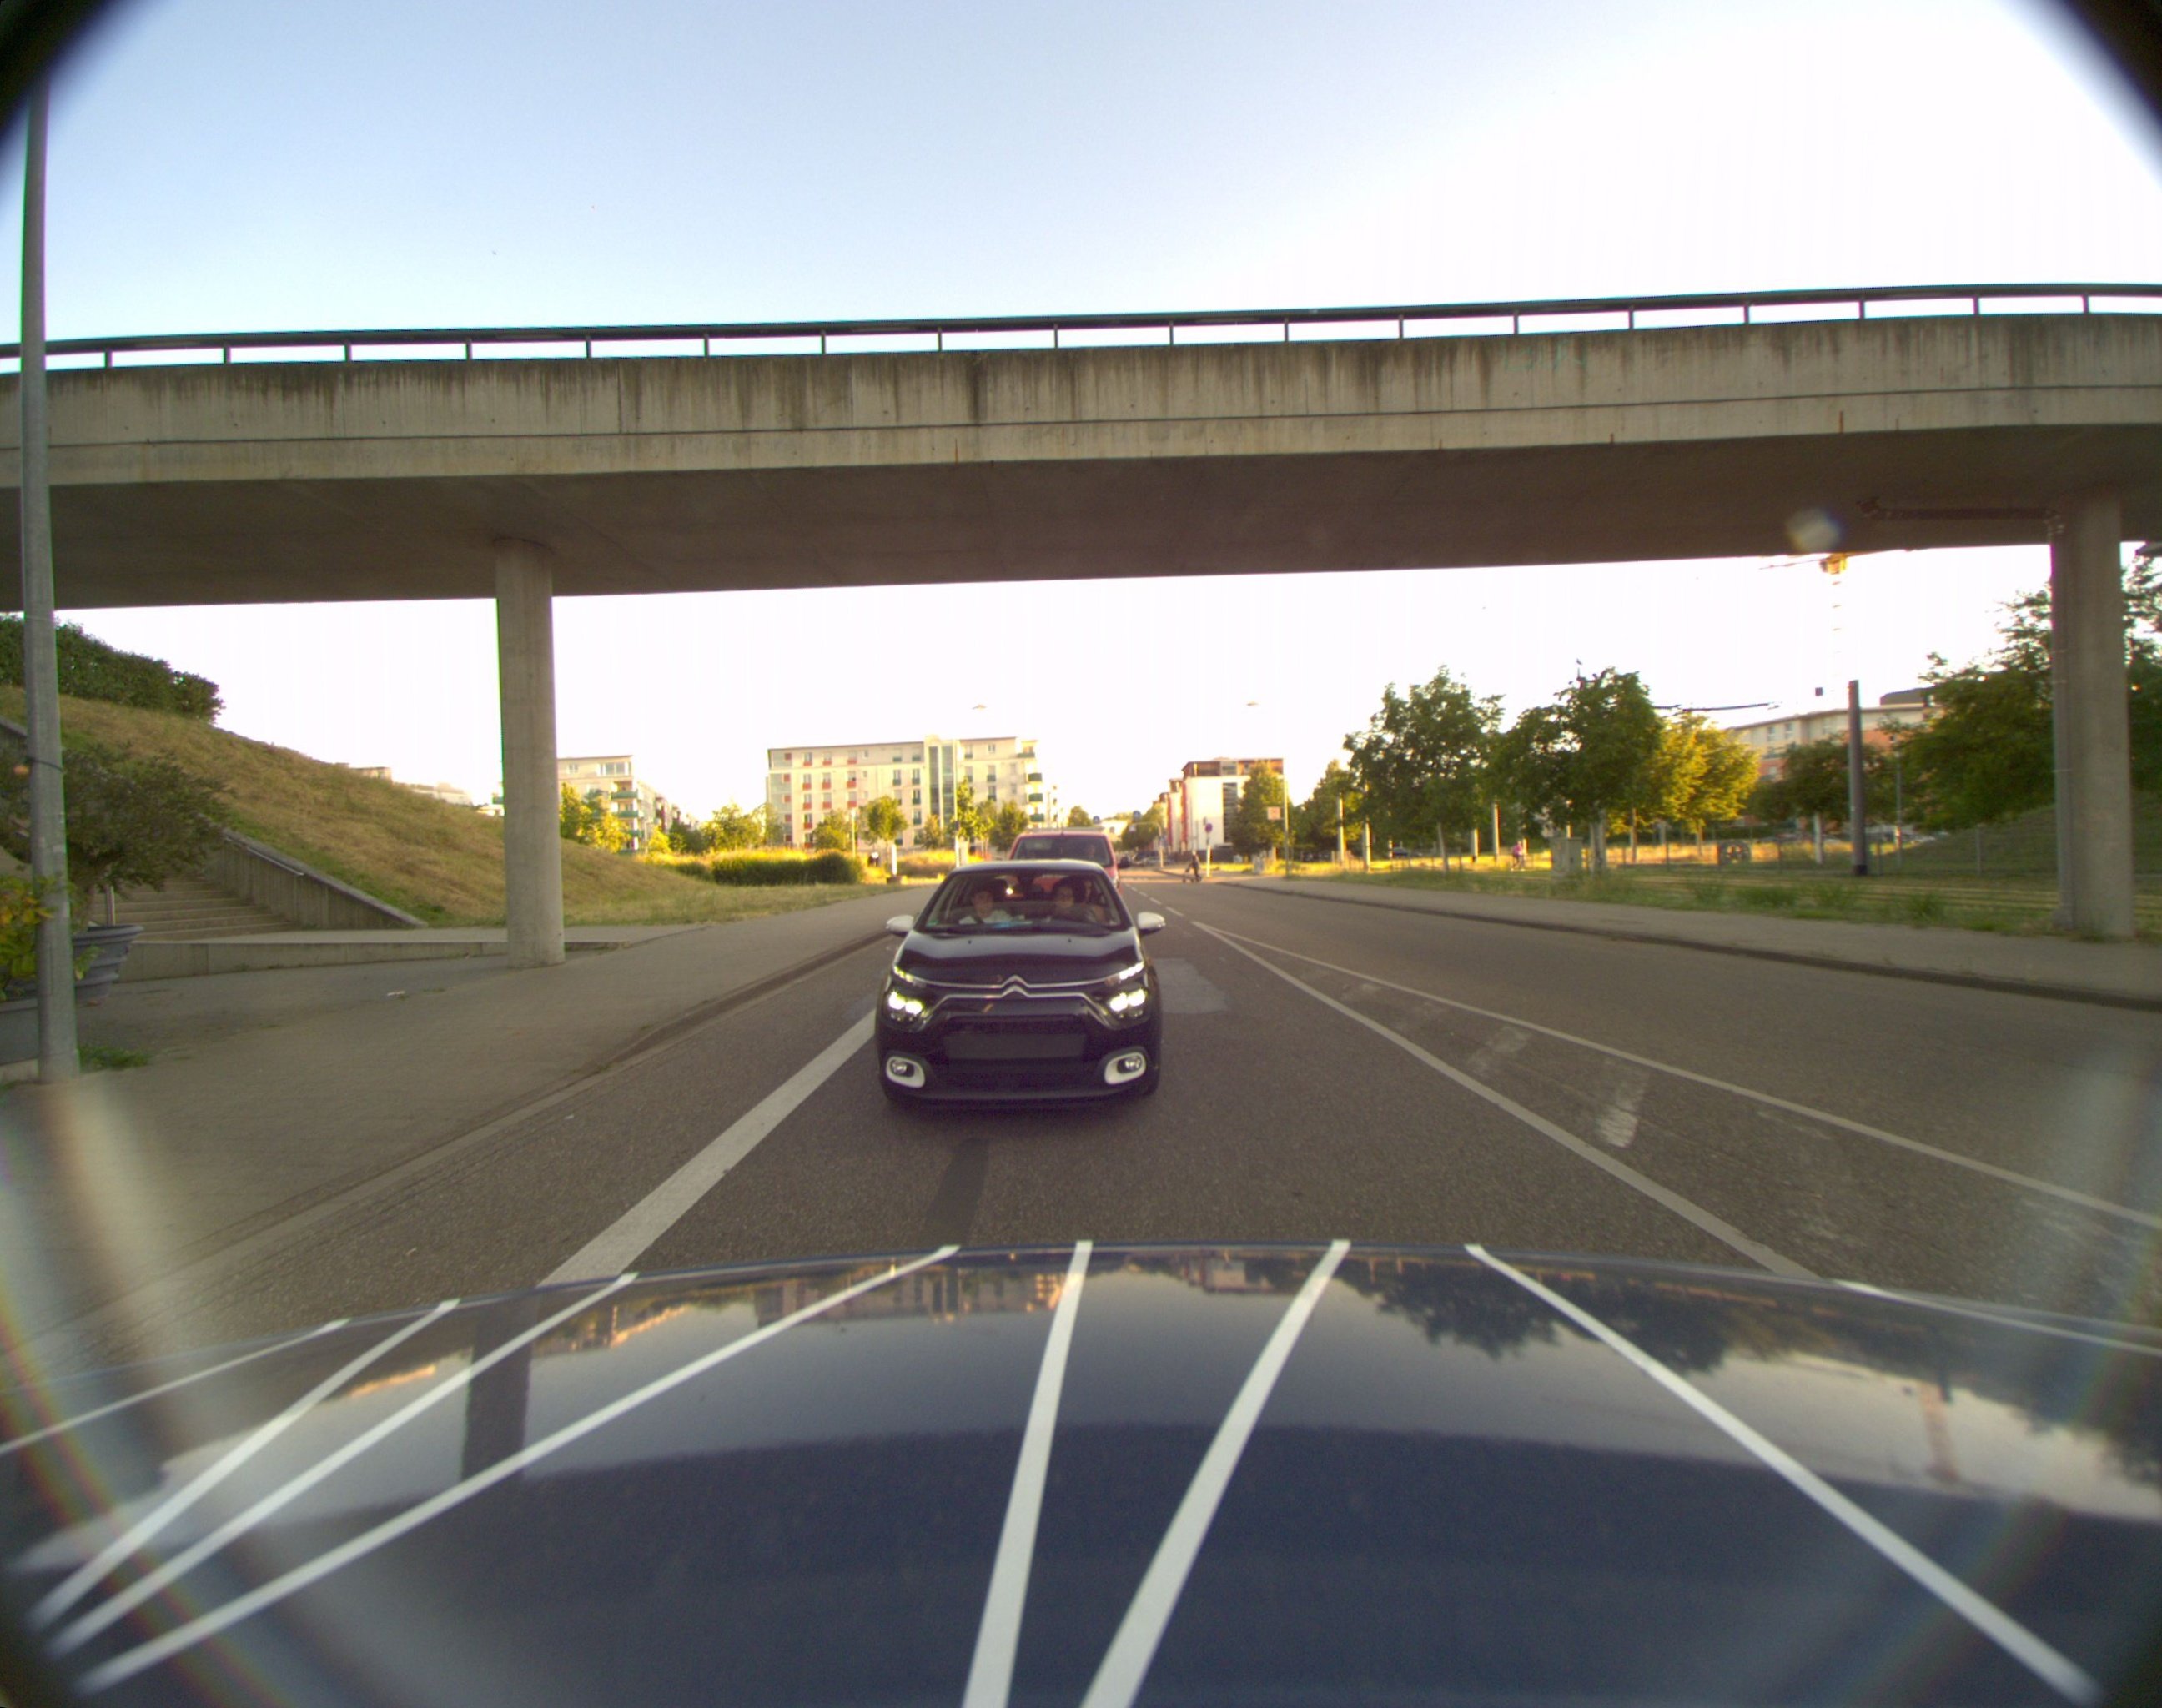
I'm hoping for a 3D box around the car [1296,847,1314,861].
[{"bbox_3d":[28.646,0.025,97.298,1.869,1.710,3.848,-2,0,12],"label":"car"}]

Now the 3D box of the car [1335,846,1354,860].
[{"bbox_3d":[33.499,-0.159,96.665,1.869,1.710,3.848,-2,0,12],"label":"car"}]

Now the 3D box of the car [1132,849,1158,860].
[{"bbox_3d":[12.128,0.097,144.258,4.745,2.002,1.999,-2,1,-2],"label":"car"}]

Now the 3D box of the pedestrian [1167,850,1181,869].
[{"bbox_3d":[10.221,0.580,83.163,1.088,2.002,1.141,-2,1,29],"label":"pedestrian"}]

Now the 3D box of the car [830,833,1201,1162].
[{"bbox_3d":[-0.367,0.706,5.758,1.760,1.543,4.071,-2,0,-2],"label":"car"}]

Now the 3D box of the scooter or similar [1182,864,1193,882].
[{"bbox_3d":[5.609,0.993,40.133,0.552,0.890,0.722,-1,1,6],"label":"scooter or similar"}]

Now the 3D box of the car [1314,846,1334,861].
[{"bbox_3d":[30.988,-0.066,96.938,1.869,1.710,3.847,-2,0,9],"label":"car"}]

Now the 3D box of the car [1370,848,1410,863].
[{"bbox_3d":[35.924,0.169,88.461,3.993,1.554,2.002,-2,0,13],"label":"car"}]

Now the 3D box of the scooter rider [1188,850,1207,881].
[{"bbox_3d":[6.163,0.593,40.078,0.897,1.568,0.712,-2,0,5],"label":"scooter rider"}]

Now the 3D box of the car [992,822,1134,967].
[{"bbox_3d":[-0.279,0.582,13.217,1.931,1.979,4.821,-3,0,-1],"label":"car"}]

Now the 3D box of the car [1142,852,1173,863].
[{"bbox_3d":[11.455,0.525,114.078,4.387,1.550,1.839,-2,1,2],"label":"car"}]

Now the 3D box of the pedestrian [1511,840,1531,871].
[{"bbox_3d":[23.027,0.085,39.813,0.779,1.602,0.417,-2,0,12],"label":"pedestrian"}]
